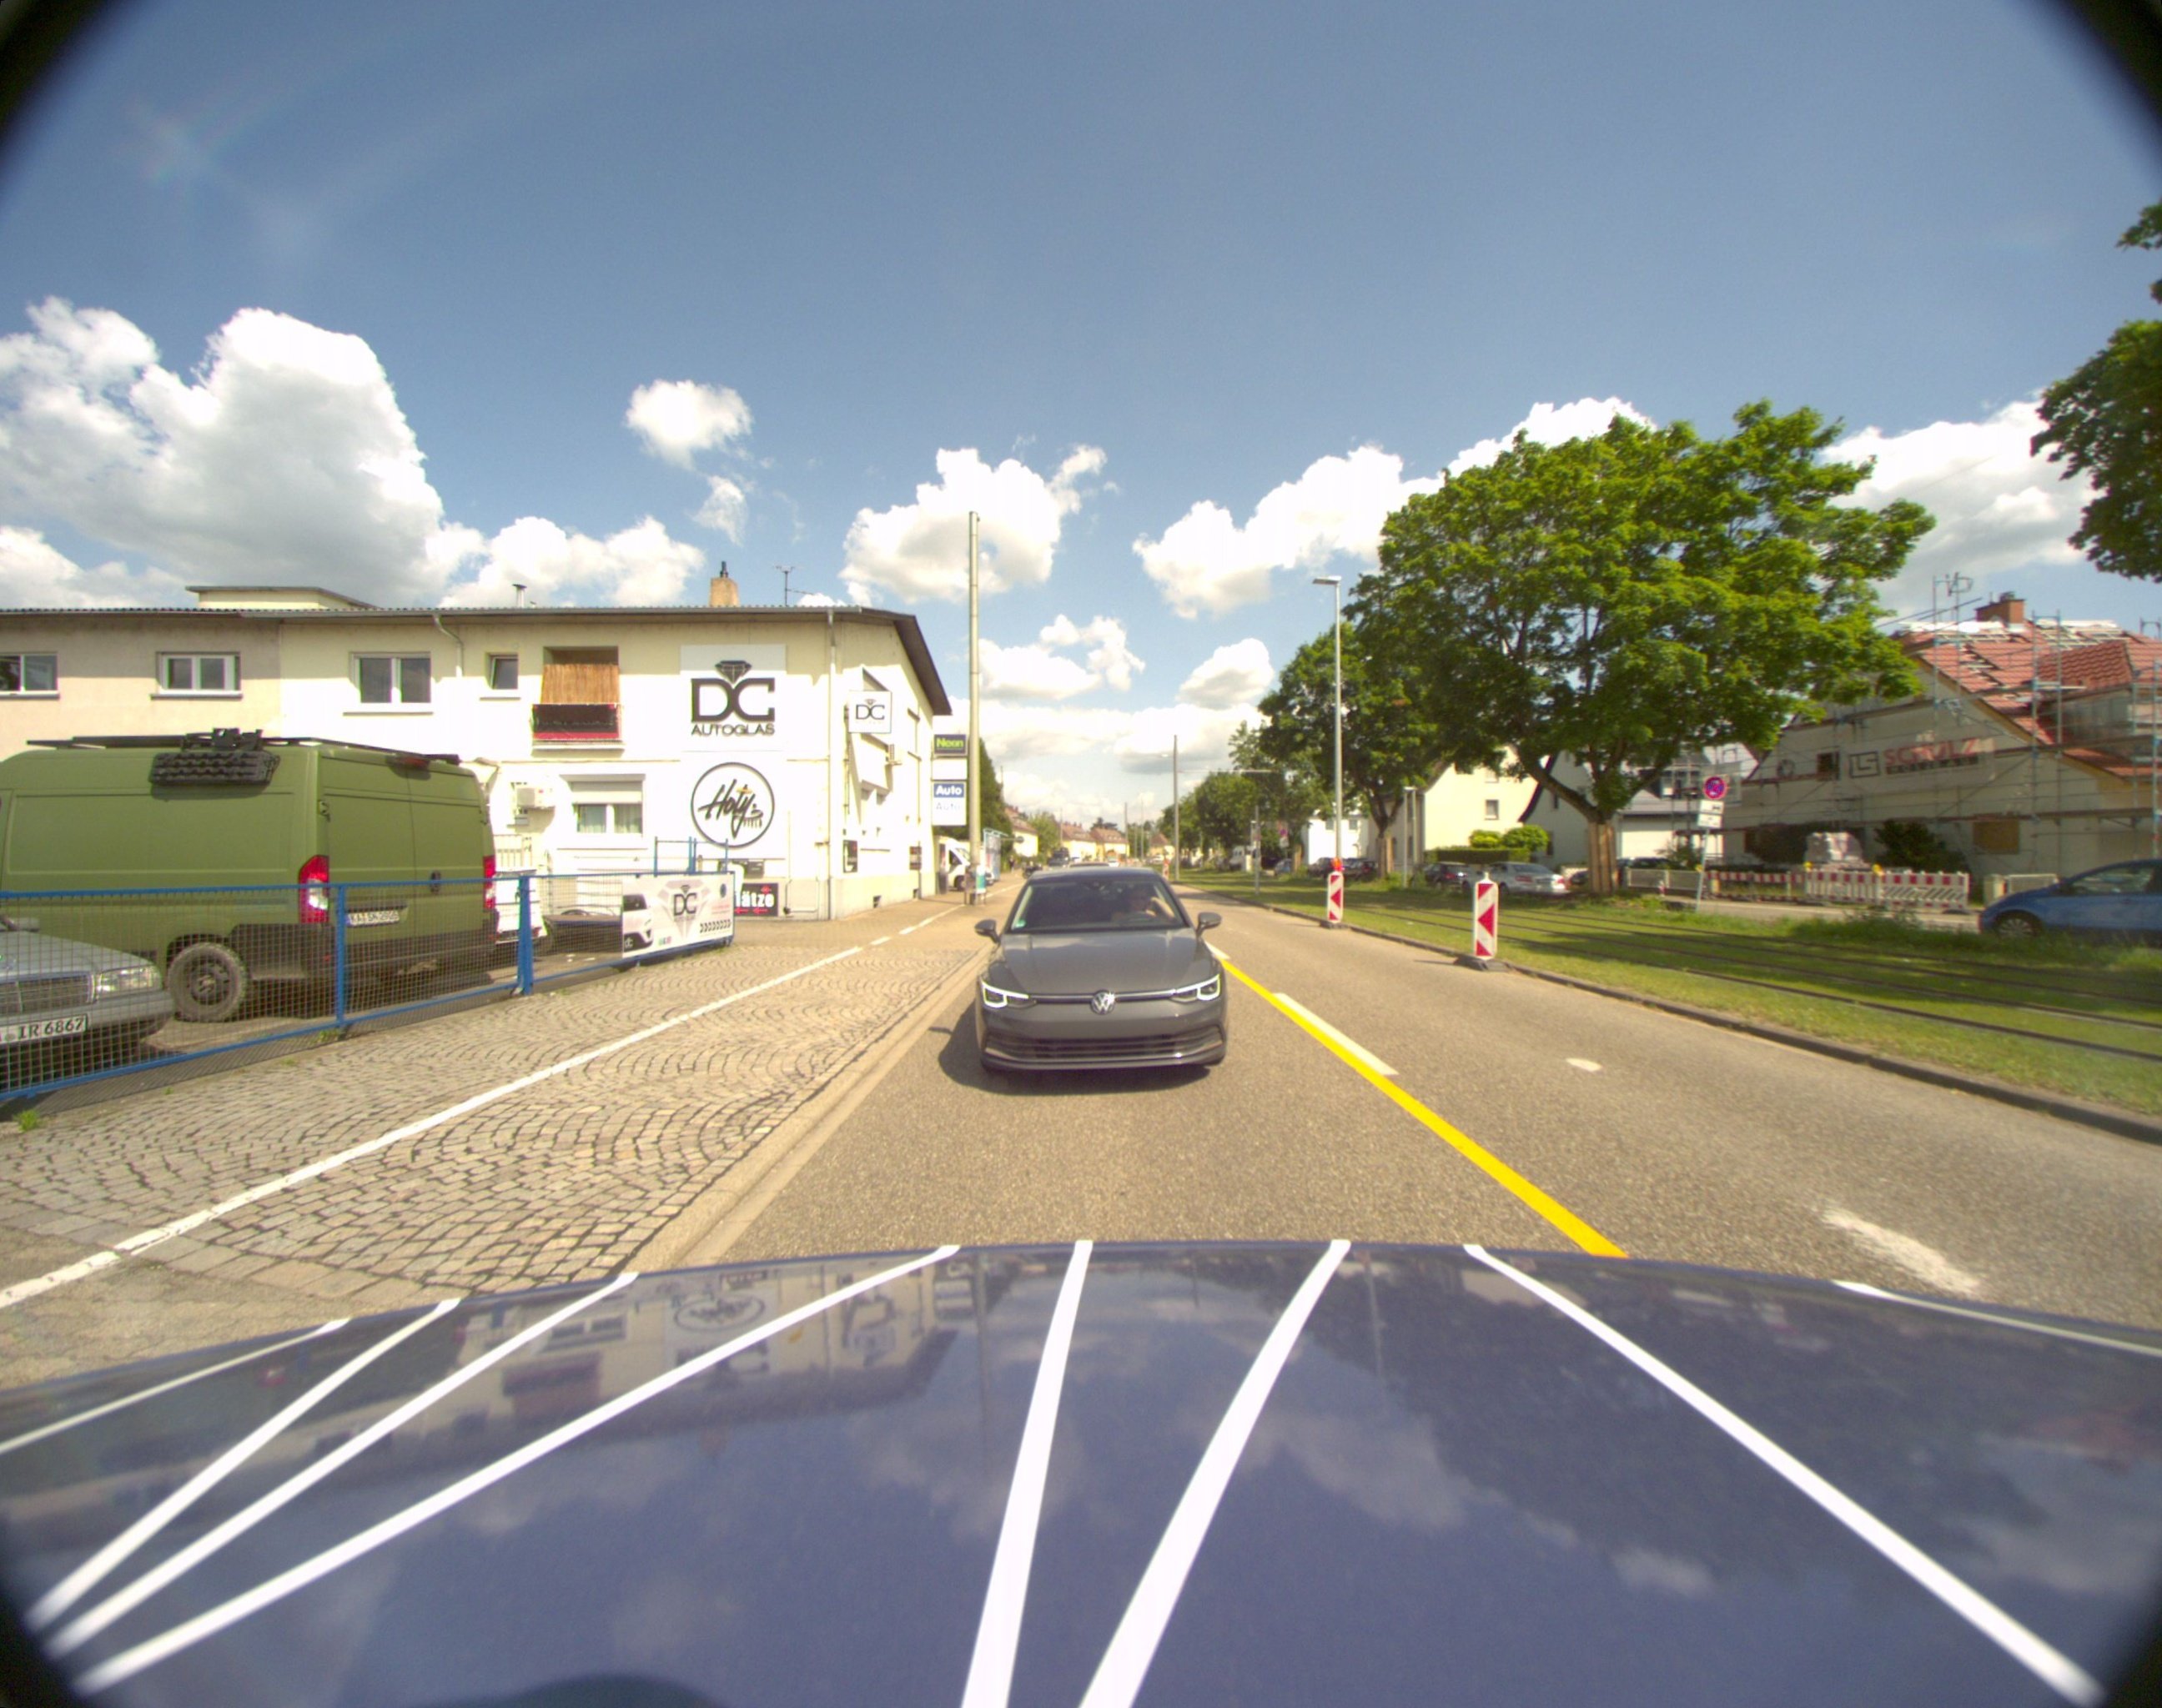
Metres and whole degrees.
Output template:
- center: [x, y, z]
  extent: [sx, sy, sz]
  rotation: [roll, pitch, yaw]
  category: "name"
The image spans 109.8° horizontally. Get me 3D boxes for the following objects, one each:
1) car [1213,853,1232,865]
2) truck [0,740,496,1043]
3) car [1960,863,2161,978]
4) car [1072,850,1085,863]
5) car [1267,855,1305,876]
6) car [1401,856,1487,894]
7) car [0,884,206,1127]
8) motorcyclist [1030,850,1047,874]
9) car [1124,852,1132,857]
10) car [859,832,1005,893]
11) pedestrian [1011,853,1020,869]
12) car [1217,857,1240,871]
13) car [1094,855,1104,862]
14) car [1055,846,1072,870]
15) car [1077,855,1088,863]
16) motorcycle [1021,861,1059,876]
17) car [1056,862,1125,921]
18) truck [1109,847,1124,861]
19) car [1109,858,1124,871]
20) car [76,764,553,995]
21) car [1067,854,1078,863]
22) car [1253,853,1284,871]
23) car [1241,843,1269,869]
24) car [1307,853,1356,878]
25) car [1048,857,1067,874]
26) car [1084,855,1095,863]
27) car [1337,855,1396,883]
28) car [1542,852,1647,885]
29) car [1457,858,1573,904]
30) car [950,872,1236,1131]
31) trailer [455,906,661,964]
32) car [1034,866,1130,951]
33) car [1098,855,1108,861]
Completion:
- center: [19.965, 0.701, 107.166]
  extent: [1.755, 1.602, 4.606]
  rotation: [0, 0, 0]
  category: "car"
- center: [-8.623, 0.329, 7.562]
  extent: [3.997, 2.592, 2.069]
  rotation: [0, 0, 1]
  category: "truck"
- center: [16.219, 0.958, 11.226]
  extent: [1.755, 1.602, 4.050]
  rotation: [0, 0, 0]
  category: "car"
- center: [-0.421, 0.393, 136.318]
  extent: [1.719, 2.360, 5.211]
  rotation: [0, 0, 5]
  category: "car"
- center: [16.498, 0.914, 61.351]
  extent: [1.755, 1.602, 4.606]
  rotation: [0, 0, 0]
  category: "car"
- center: [16.591, 0.915, 35.024]
  extent: [1.755, 1.602, 4.606]
  rotation: [0, 0, 0]
  category: "car"
- center: [-8.437, 0.918, 4.806]
  extent: [4.206, 1.388, 1.804]
  rotation: [0, 0, 8]
  category: "car"
- center: [-3.385, 0.606, 60.942]
  extent: [1.111, 1.900, 0.880]
  rotation: [0, 0, 15]
  category: "motorcyclist"
- center: [13.544, 0.224, 218.472]
  extent: [1.718, 1.470, 4.013]
  rotation: [0, 0, 13]
  category: "car"
- center: [-6.558, 0.350, 33.858]
  extent: [5.982, 2.362, 2.000]
  rotation: [3, 0, 3]
  category: "car"
- center: [-6.554, 0.740, 75.958]
  extent: [0.816, 1.577, 0.918]
  rotation: [0, 0, 1]
  category: "pedestrian"
- center: [16.937, 1.148, 87.264]
  extent: [1.755, 1.602, 4.606]
  rotation: [0, 0, 0]
  category: "car"
- center: [4.115, 0.986, 172.731]
  extent: [1.718, 1.470, 4.011]
  rotation: [0, 0, 8]
  category: "car"
- center: [-1.914, 0.407, 82.844]
  extent: [1.720, 2.526, 5.794]
  rotation: [0, 0, 0]
  category: "car"
- center: [0.348, 0.980, 146.549]
  extent: [1.719, 1.470, 4.011]
  rotation: [0, 0, 6]
  category: "car"
- center: [-3.310, 1.155, 60.916]
  extent: [2.896, 1.164, 0.887]
  rotation: [0, 0, 15]
  category: "motorcycle"
- center: [0.271, 0.987, 21.487]
  extent: [1.787, 1.470, 4.009]
  rotation: [0, 0, 1]
  category: "car"
- center: [9.418, 0.011, 201.130]
  extent: [2.589, 3.431, 8.585]
  rotation: [0, 0, 11]
  category: "truck"
- center: [4.211, 1.231, 90.950]
  extent: [1.719, 1.405, 4.262]
  rotation: [0, 0, 1]
  category: "car"
- center: [-9.455, 0.302, 9.647]
  extent: [4.209, 2.653, 1.803]
  rotation: [0, 0, 0]
  category: "car"
- center: [-1.358, 0.732, 122.954]
  extent: [1.720, 1.470, 4.009]
  rotation: [0, 0, 0]
  category: "car"
- center: [17.588, 0.752, 71.490]
  extent: [1.755, 1.602, 4.606]
  rotation: [0, 0, 0]
  category: "car"
- center: [17.650, 0.193, 77.060]
  extent: [1.755, 2.601, 4.606]
  rotation: [0, 0, 0]
  category: "car"
- center: [16.681, 0.761, 50.901]
  extent: [1.755, 1.602, 4.606]
  rotation: [0, 0, 0]
  category: "car"
- center: [-2.157, 1.063, 70.982]
  extent: [1.720, 1.470, 4.009]
  rotation: [0, 0, 0]
  category: "car"
- center: [1.824, 0.980, 155.297]
  extent: [1.718, 1.470, 4.011]
  rotation: [0, 0, 8]
  category: "car"
- center: [16.903, 0.848, 45.262]
  extent: [1.755, 1.602, 4.606]
  rotation: [0, 0, 0]
  category: "car"
- center: [25.513, 0.719, 37.826]
  extent: [4.047, 1.602, 1.757]
  rotation: [0, 0, 1]
  category: "car"
- center: [16.390, 0.964, 29.001]
  extent: [1.755, 1.602, 4.606]
  rotation: [0, 0, 0]
  category: "car"
- center: [0.100, 0.938, 6.585]
  extent: [1.719, 1.470, 4.009]
  rotation: [0, 0, 1]
  category: "car"
- center: [-8.062, 1.238, 11.832]
  extent: [2.329, 0.762, 1.269]
  rotation: [0, 0, 2]
  category: "trailer"
- center: [0.038, 1.006, 15.638]
  extent: [1.719, 1.470, 4.009]
  rotation: [0, 0, 1]
  category: "car"
- center: [5.188, 0.988, 179.081]
  extent: [1.718, 1.470, 4.011]
  rotation: [0, 0, 8]
  category: "car"
